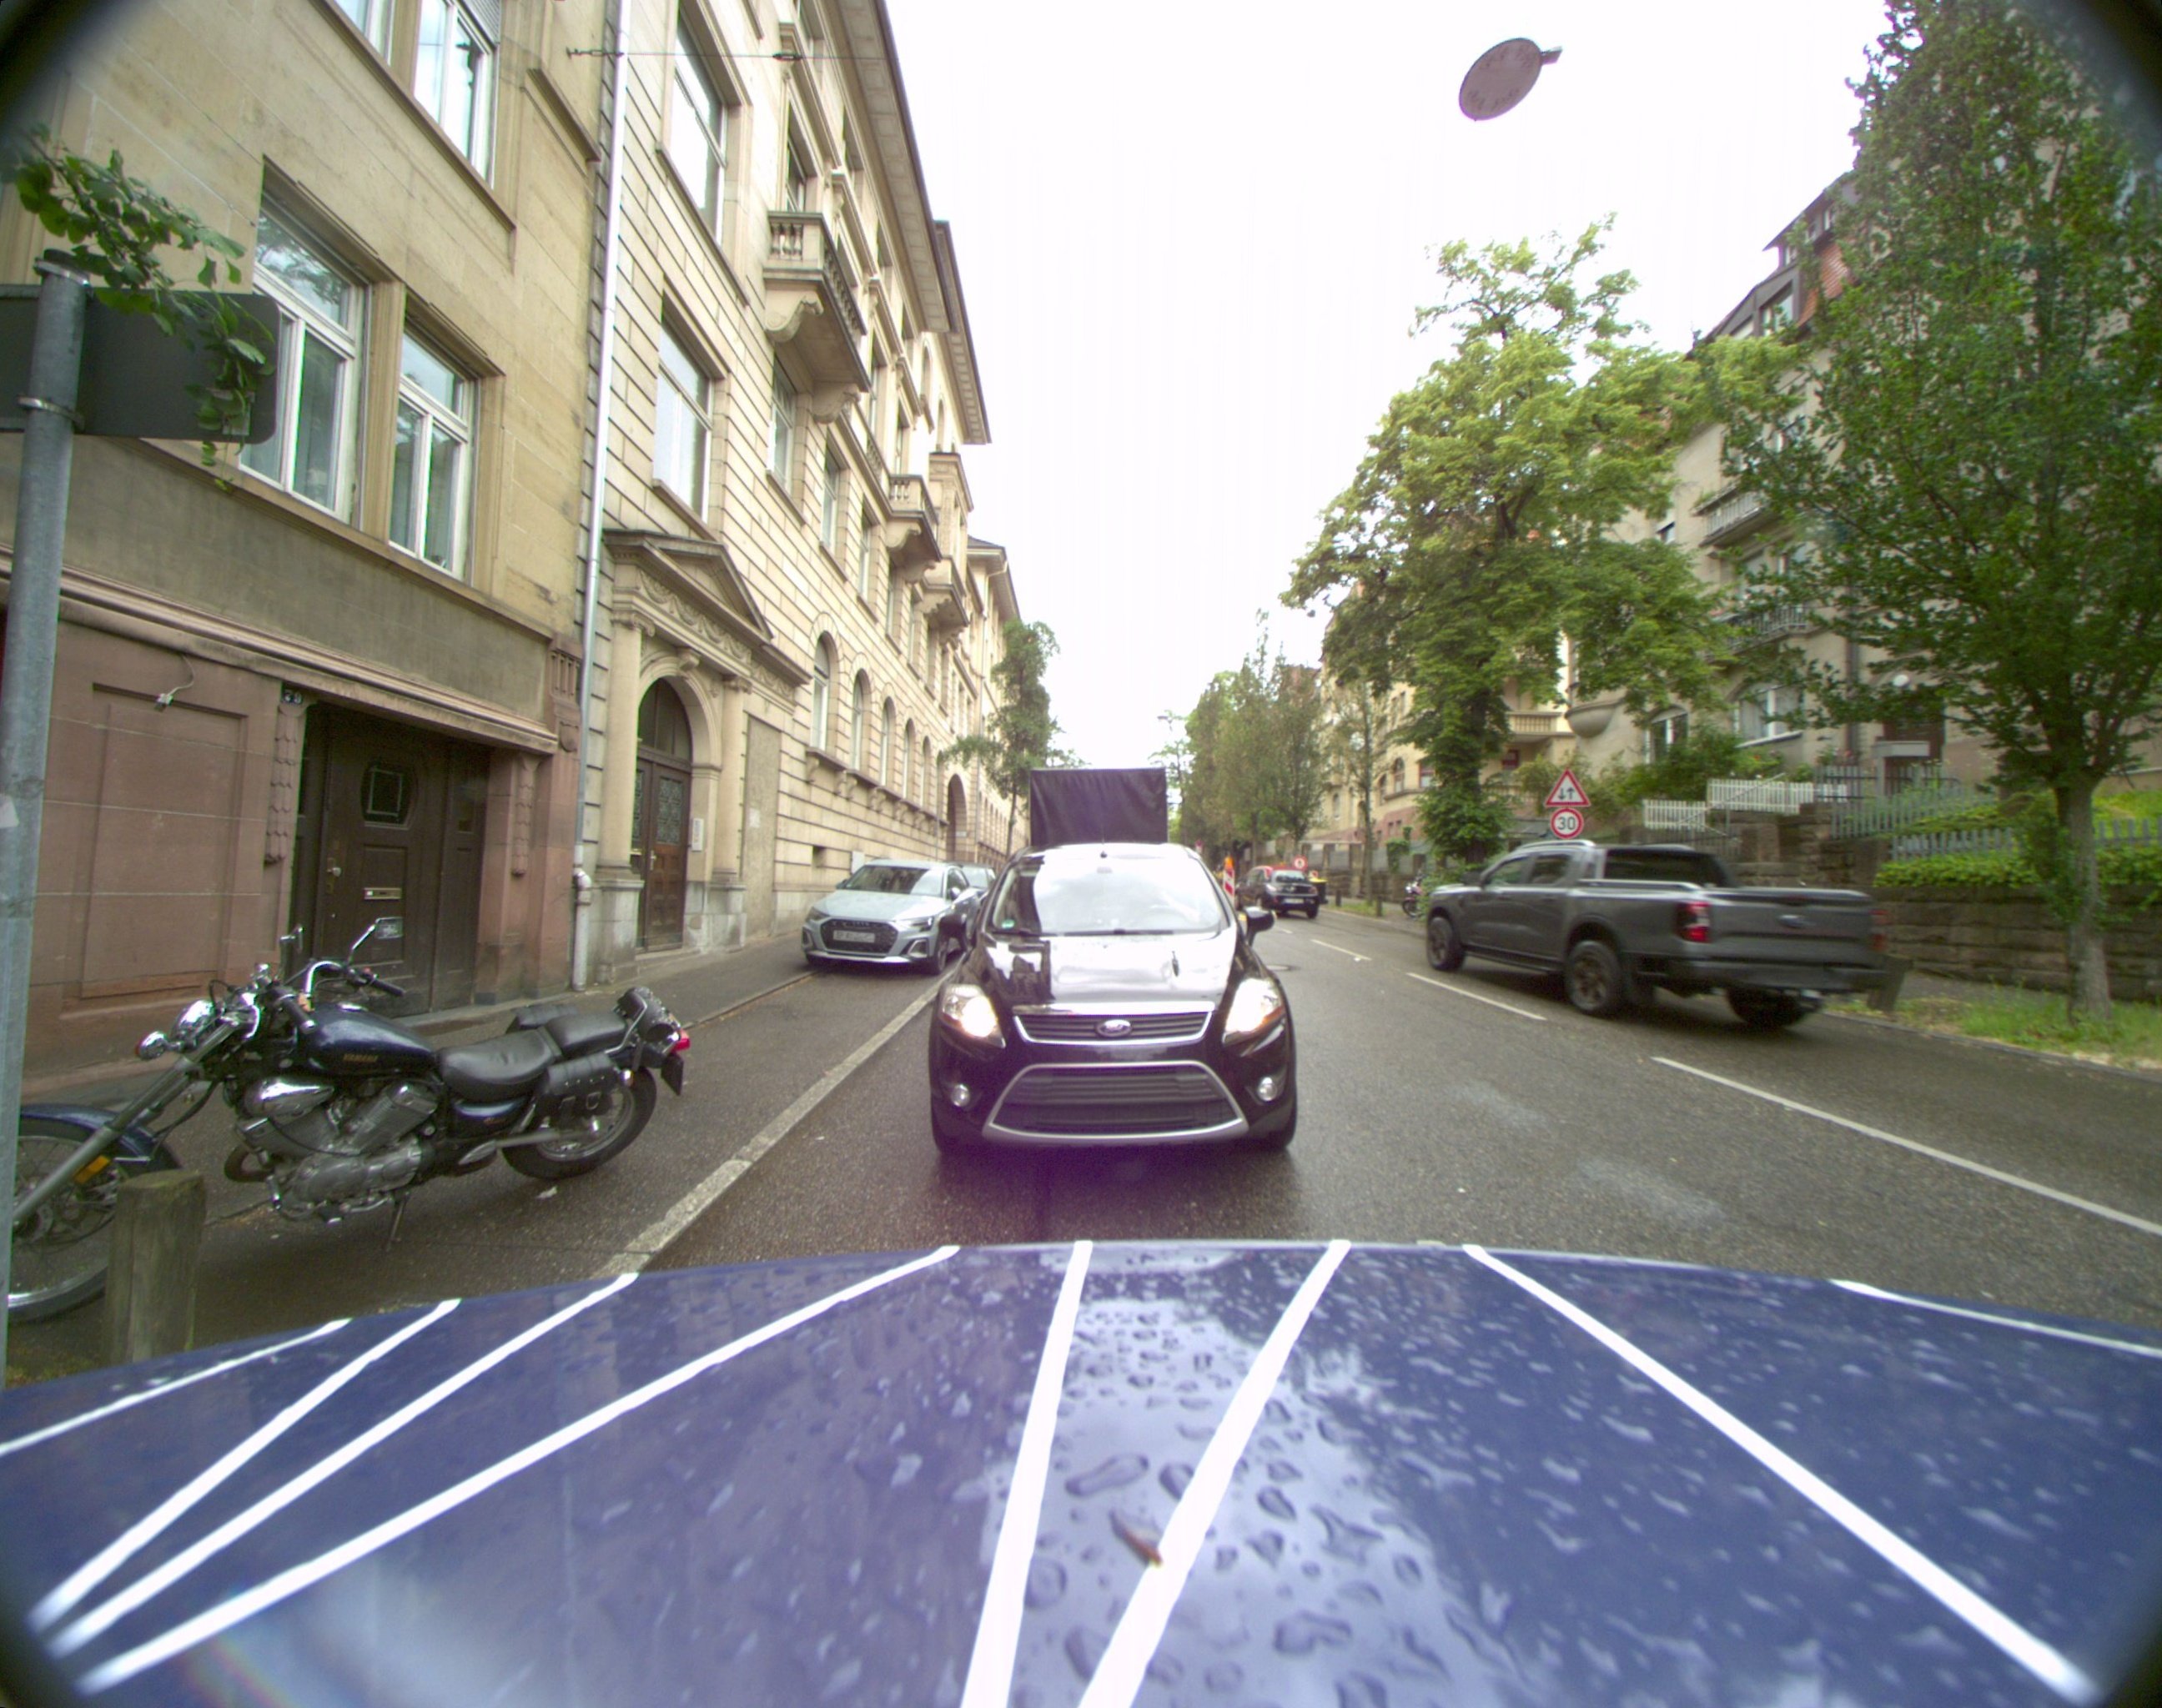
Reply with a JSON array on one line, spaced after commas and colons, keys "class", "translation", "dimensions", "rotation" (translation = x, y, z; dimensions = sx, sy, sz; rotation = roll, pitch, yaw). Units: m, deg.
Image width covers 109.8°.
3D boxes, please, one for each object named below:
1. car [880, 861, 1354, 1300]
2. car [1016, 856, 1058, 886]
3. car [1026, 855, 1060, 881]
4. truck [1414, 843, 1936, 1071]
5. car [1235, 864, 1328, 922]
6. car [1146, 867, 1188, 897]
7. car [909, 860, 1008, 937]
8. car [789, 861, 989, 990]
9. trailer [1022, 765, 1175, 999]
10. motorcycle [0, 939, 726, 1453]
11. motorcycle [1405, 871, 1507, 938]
[{"class": "car", "translation": [0.194, 0.893, 5.196], "dimensions": [1.823, 1.662, 4.522], "rotation": [0, 0, 1]}, {"class": "car", "translation": [-2.394, 0.896, 42.469], "dimensions": [1.910, 1.502, 4.318], "rotation": [3, 0, 1]}, {"class": "car", "translation": [-2.491, 0.894, 50.649], "dimensions": [1.910, 1.502, 4.318], "rotation": [3, 0, 1]}, {"class": "truck", "translation": [6.093, 0.880, 8.928], "dimensions": [2.075, 1.825, 5.154], "rotation": [2, 0, 1]}, {"class": "car", "translation": [5.881, 1.102, 22.731], "dimensions": [1.670, 1.463, 3.656], "rotation": [3, 0, -1]}, {"class": "car", "translation": [4.718, 1.518, 42.149], "dimensions": [1.910, 1.502, 4.318], "rotation": [1, 0, 1]}, {"class": "car", "translation": [-2.575, 0.894, 16.634], "dimensions": [1.495, 1.440, 3.181], "rotation": [3, 0, 1]}, {"class": "car", "translation": [-2.596, 0.894, 11.321], "dimensions": [1.794, 1.444, 4.039], "rotation": [3, 0, 1]}, {"class": "trailer", "translation": [0.204, 0.316, 11.349], "dimensions": [1.783, 2.744, 4.816], "rotation": [0, 1, 0]}, {"class": "motorcycle", "translation": [-2.565, 0.987, 2.711], "dimensions": [0.523, 1.236, 2.282], "rotation": [3, -1, 39]}, {"class": "motorcycle", "translation": [8.894, 1.136, 18.205], "dimensions": [0.802, 1.406, 3.061], "rotation": [-2, 0, -2]}]
